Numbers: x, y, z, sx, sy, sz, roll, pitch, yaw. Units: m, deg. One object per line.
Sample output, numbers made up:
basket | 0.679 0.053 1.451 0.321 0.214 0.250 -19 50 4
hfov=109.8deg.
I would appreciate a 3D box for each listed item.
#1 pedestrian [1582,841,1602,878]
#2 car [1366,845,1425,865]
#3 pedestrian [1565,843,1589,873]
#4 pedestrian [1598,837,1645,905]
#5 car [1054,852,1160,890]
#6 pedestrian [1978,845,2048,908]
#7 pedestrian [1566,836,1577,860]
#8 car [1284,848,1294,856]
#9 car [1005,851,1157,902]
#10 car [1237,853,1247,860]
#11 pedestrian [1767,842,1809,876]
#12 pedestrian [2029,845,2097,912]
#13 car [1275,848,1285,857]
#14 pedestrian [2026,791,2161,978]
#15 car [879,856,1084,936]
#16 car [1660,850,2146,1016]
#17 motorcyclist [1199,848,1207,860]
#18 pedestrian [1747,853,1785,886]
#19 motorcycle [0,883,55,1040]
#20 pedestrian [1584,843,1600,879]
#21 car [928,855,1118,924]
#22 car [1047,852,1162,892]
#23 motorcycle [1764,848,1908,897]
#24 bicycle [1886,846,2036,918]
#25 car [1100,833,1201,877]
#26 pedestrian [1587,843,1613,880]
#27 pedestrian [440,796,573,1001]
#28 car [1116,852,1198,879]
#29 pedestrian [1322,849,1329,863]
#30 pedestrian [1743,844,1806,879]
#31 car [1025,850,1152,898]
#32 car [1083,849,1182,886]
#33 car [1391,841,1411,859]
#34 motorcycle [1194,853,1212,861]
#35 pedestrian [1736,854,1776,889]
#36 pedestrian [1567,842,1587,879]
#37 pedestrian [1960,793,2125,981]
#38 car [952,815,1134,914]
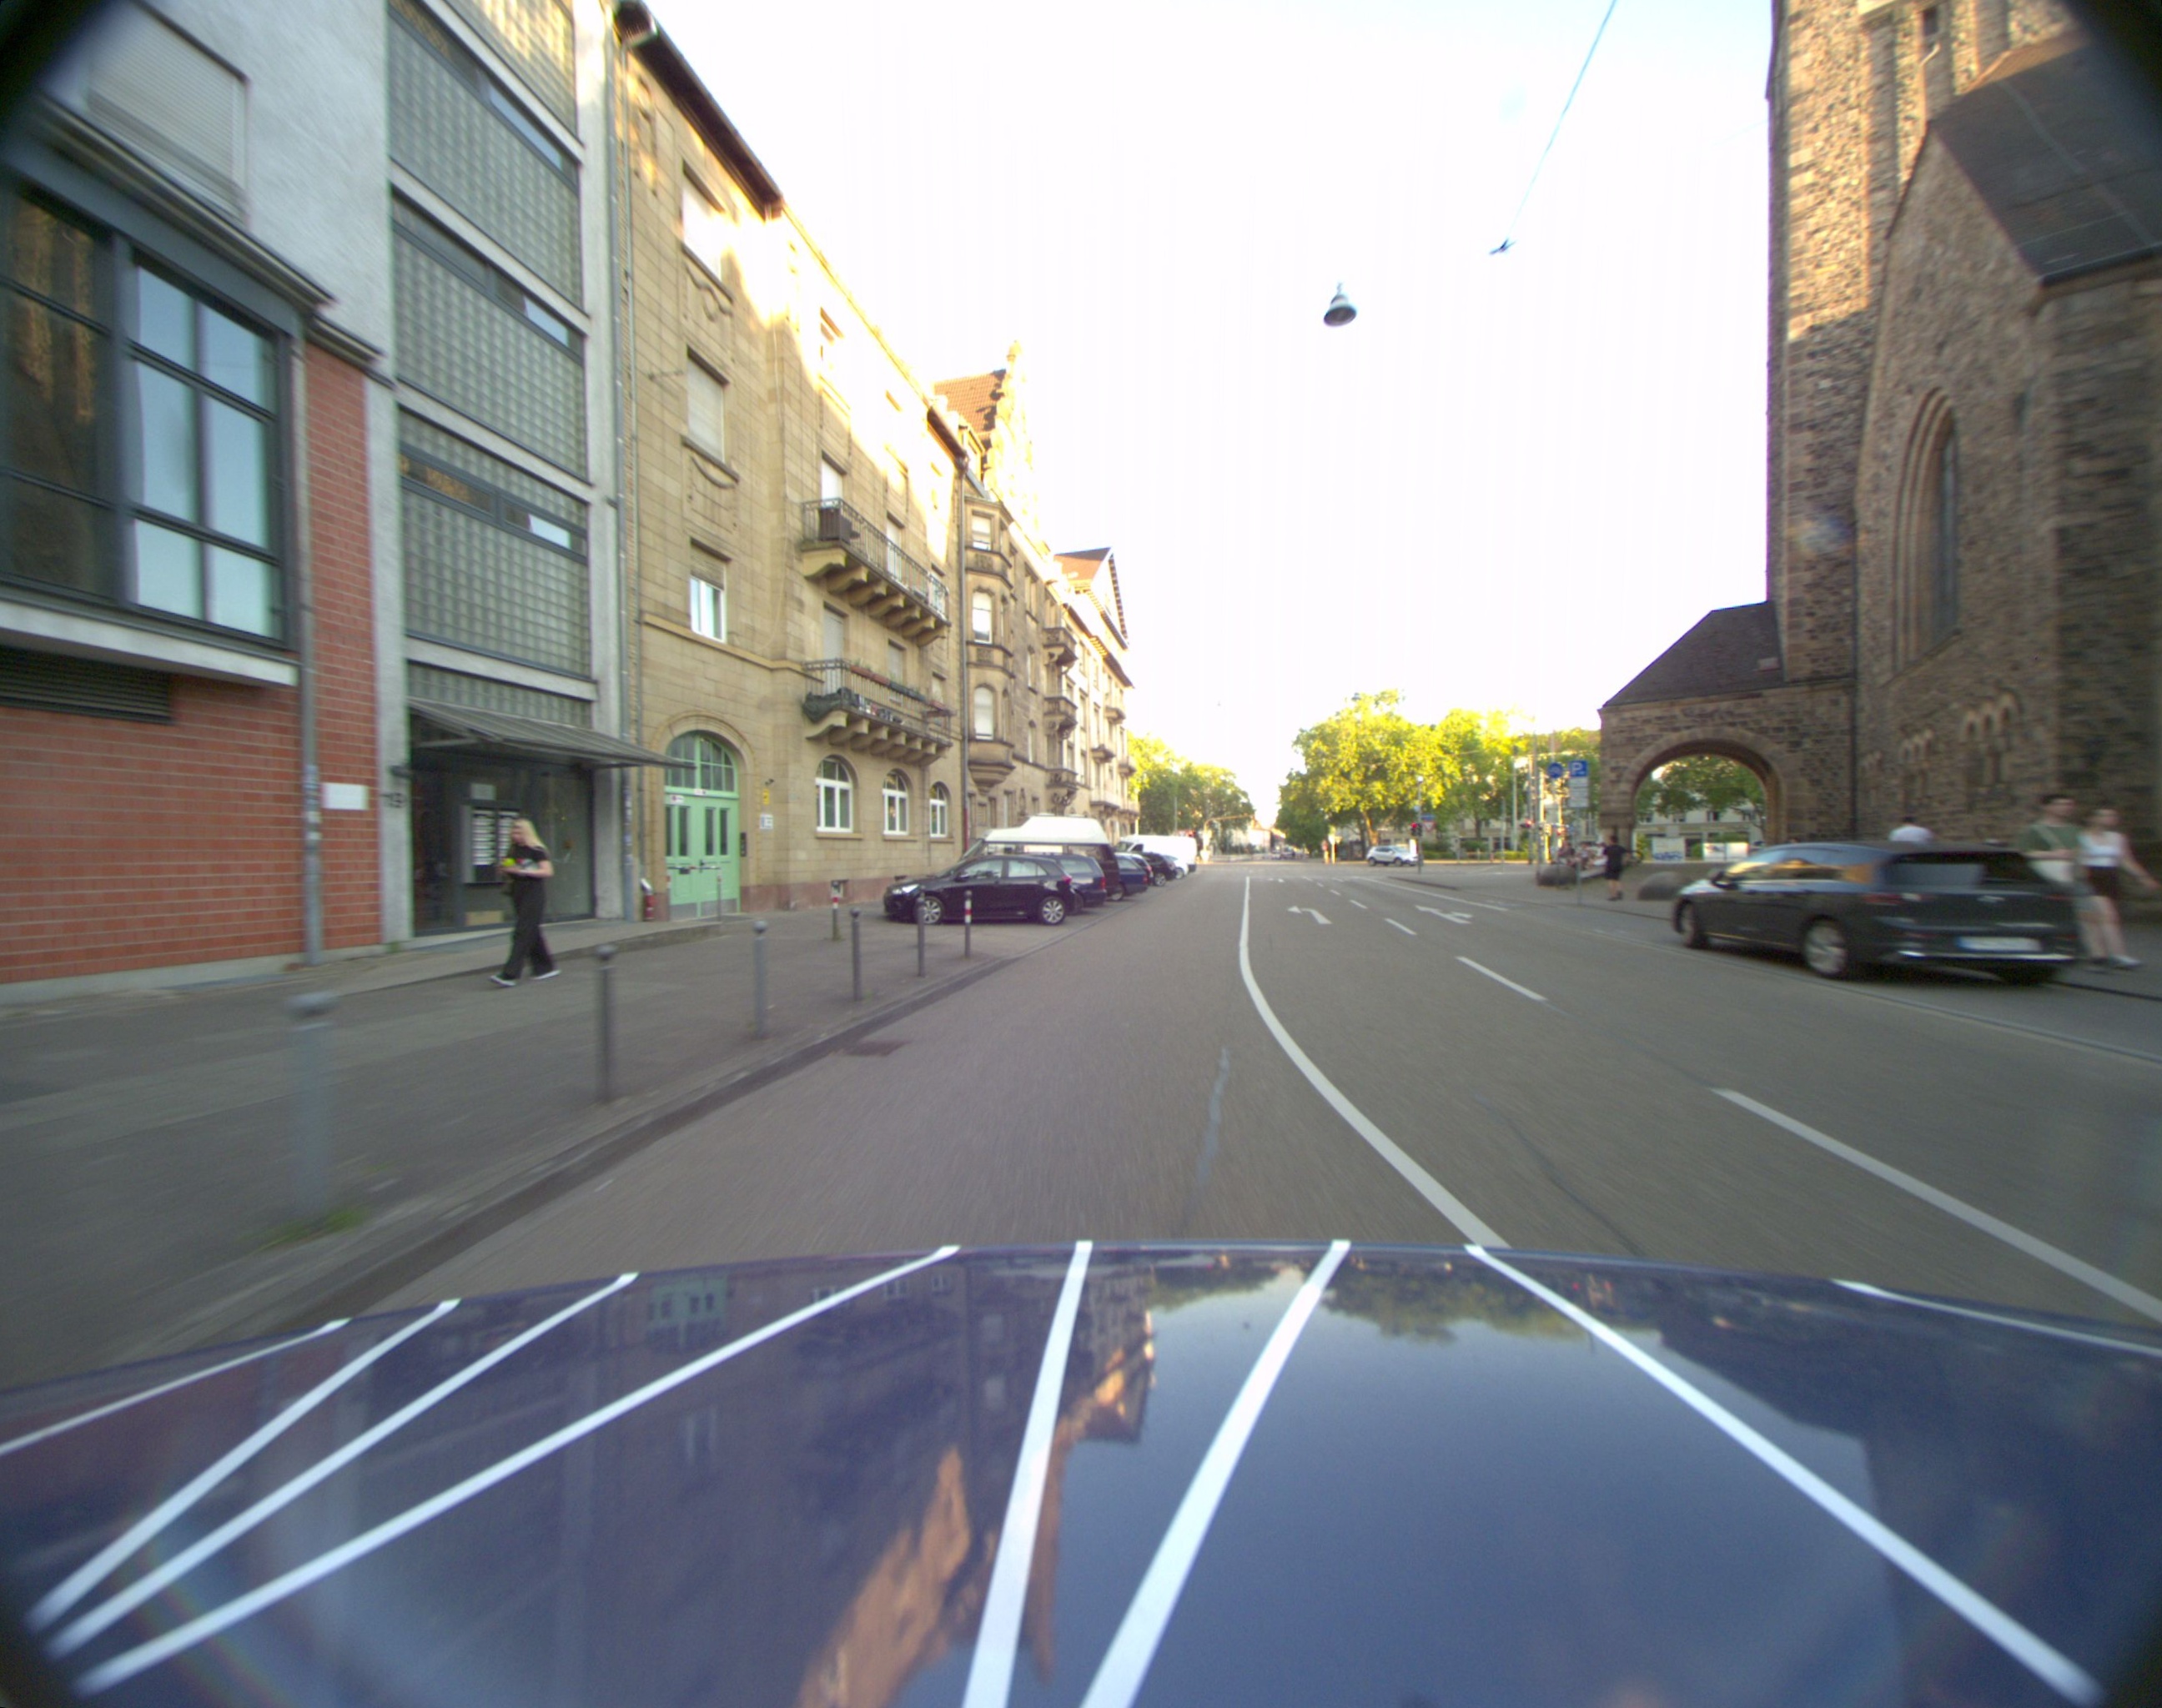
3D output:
pedestrian | 19.696 0.208 29.281 0.459 1.398 0.546 -2 1 -42
car | 24.693 0.091 59.753 1.845 1.549 3.990 -1 0 -32
pedestrian | 23.013 0.195 35.273 0.701 1.367 0.801 -1 1 -44
pedestrian | 13.972 0.428 19.655 0.715 1.715 0.692 -1 1 3
car | 1.103 0.697 32.011 4.063 1.490 1.750 1 1 -23
pedestrian | 15.912 0.371 12.974 0.739 1.042 0.519 -1 1 -17
pedestrian | 38.228 -0.473 59.262 0.709 1.836 1.162 0 1 33
car | 45.283 -0.424 165.267 1.825 1.565 4.005 -1 0 17
car | -0.028 0.700 23.932 4.402 1.478 1.840 2 1 -18
car | 36.591 0.493 172.516 1.792 1.571 4.005 -1 0 16
pedestrian | 22.983 0.160 24.700 0.648 1.069 0.828 -1 1 -27
pedestrian | 15.815 0.389 12.251 0.497 1.042 0.609 -1 1 33
car | 44.234 -0.372 168.590 1.989 1.945 4.601 -1 0 16
pedestrian | 10.786 0.302 7.972 0.573 1.846 0.989 -1 1 10
car | -2.148 0.827 16.250 4.073 1.483 1.721 -1 1 -18
car | 8.858 0.680 8.878 1.786 1.427 4.320 -1 0 14
motorcyclist | 15.812 0.034 98.497 0.830 1.511 0.622 -1 1 -13
pedestrian | 20.200 0.444 22.402 0.562 0.962 0.648 -1 1 -21
motorcycle | -8.582 0.808 4.759 0.801 1.133 2.442 2 1 12
pedestrian | 20.298 0.272 30.182 0.549 1.398 0.401 -2 1 -42
car | -1.462 0.809 18.665 4.359 1.494 1.911 -1 1 -15
car | 0.909 0.699 29.528 4.039 1.423 1.864 1 1 -21
motorcycle | 18.892 0.473 19.080 2.418 1.119 0.823 -3 0 17
bicycle | 15.801 0.484 13.692 1.729 1.241 0.438 0 1 27
car | 4.277 0.041 46.547 5.894 2.537 2.190 0 3 -28
pedestrian | 19.681 0.270 28.803 0.633 1.398 0.702 -2 1 -42
pedestrian | -5.936 0.441 7.894 0.608 2.002 0.858 -1 1 14
car | 4.378 0.644 43.743 4.261 1.445 1.995 0 1 -26
pedestrian | 29.144 0.244 90.533 0.745 1.619 0.661 -1 1 30
pedestrian | 22.317 0.218 24.473 0.686 1.088 1.330 -1 1 -27
car | 0.238 0.677 26.671 4.124 1.537 1.792 0 3 -15
car | 2.356 0.627 34.851 4.104 1.598 1.812 1 1 -25
car | 36.755 -0.468 87.195 1.864 2.002 3.817 0 1 28
motorcycle | 15.830 0.383 98.518 2.286 0.917 0.622 -1 1 -13
pedestrian | 19.655 0.493 22.135 0.562 0.986 0.695 -1 1 -21
pedestrian | 19.926 0.256 30.520 0.559 1.445 0.549 -2 1 -42
pedestrian | 10.083 0.331 8.010 0.648 1.868 0.892 -1 1 10
car | -1.077 0.233 21.157 4.729 2.532 1.915 -1 1 -16
